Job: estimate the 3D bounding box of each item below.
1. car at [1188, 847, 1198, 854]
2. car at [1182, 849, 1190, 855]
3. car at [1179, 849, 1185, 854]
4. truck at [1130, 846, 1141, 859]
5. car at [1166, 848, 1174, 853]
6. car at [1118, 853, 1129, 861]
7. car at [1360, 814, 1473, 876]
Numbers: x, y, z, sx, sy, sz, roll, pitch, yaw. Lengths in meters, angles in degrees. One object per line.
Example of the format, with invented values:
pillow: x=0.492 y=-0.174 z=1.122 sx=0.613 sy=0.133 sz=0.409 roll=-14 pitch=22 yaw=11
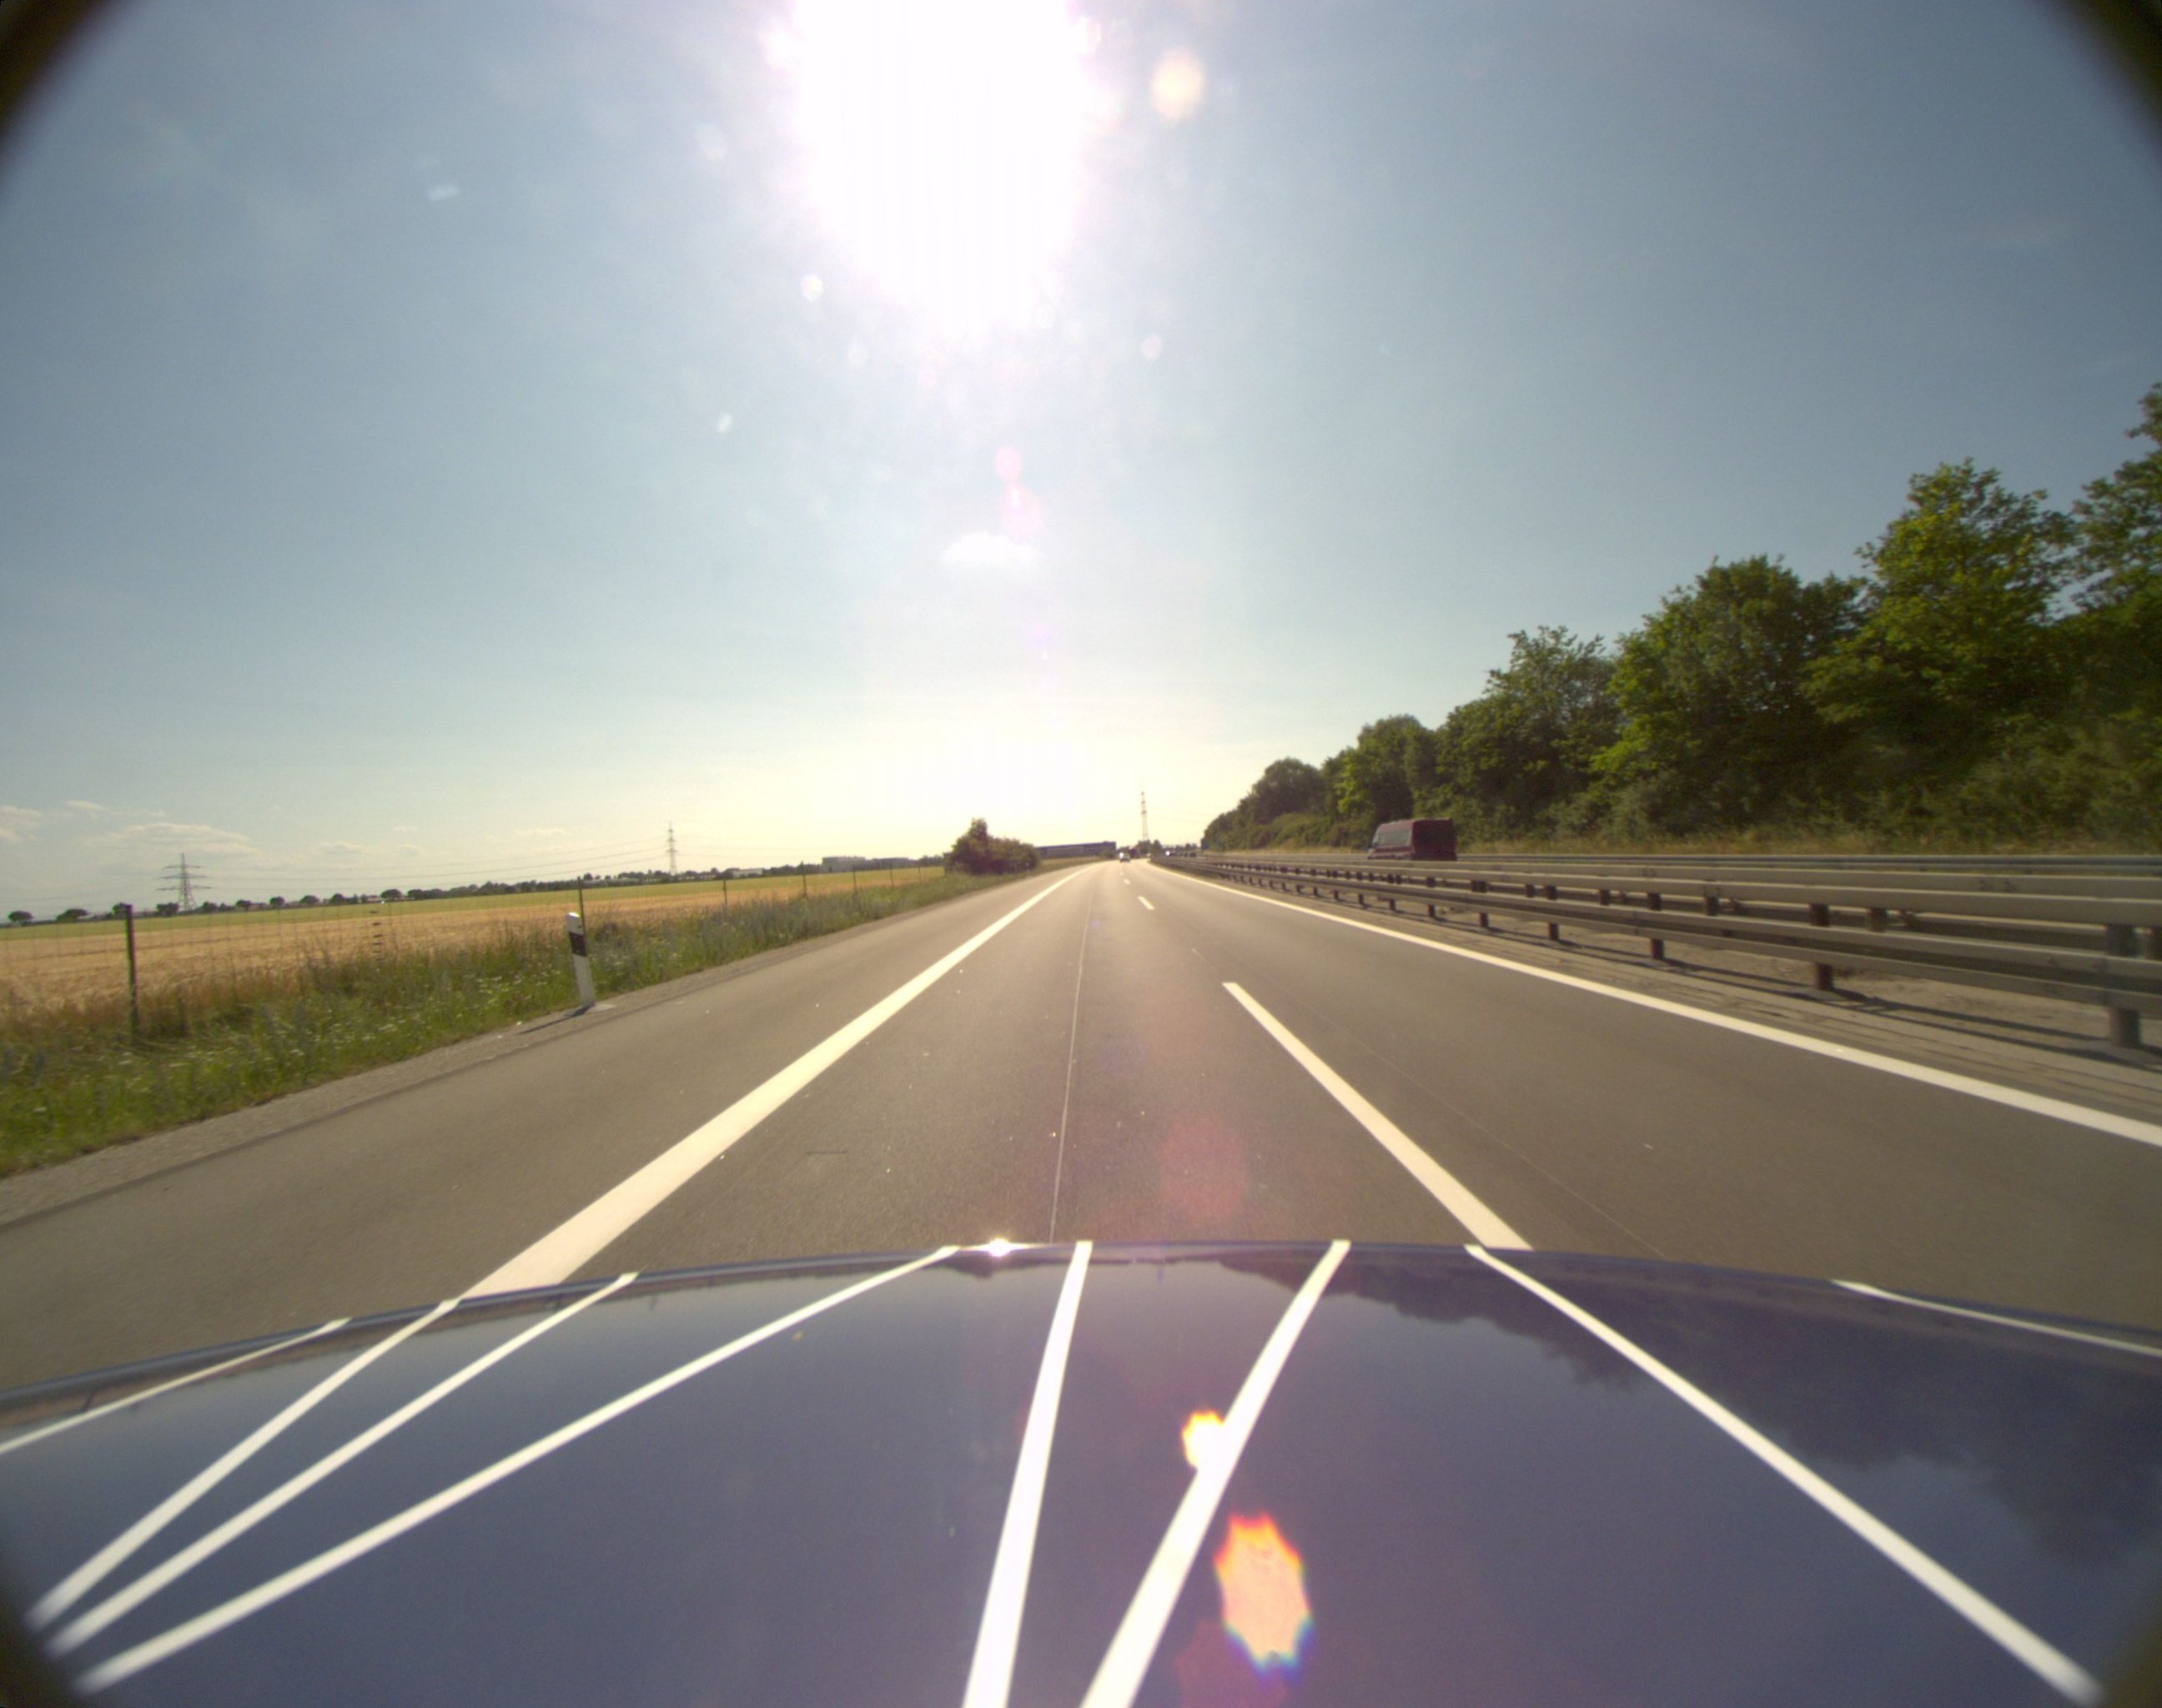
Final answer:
car: x=23.277 y=-0.752 z=157.797 sx=1.666 sy=1.414 sz=4.000 roll=-2 pitch=0 yaw=3
car: x=25.715 y=-0.548 z=186.024 sx=1.581 sy=1.453 sz=4.154 roll=-3 pitch=0 yaw=5
car: x=34.626 y=-0.968 z=259.923 sx=1.755 sy=1.555 sz=4.581 roll=-3 pitch=0 yaw=4
truck: x=17.481 y=-0.537 z=242.189 sx=2.569 sy=3.938 sz=8.649 roll=-5 pitch=0 yaw=9
car: x=23.487 y=-0.916 z=200.988 sx=1.666 sy=1.414 sz=4.000 roll=-2 pitch=0 yaw=3
car: x=7.956 y=0.611 z=140.756 sx=1.860 sy=1.361 sz=4.001 roll=-3 pitch=0 yaw=5
car: x=15.909 y=-0.395 z=36.625 sx=2.550 sy=2.580 sz=6.593 roll=-3 pitch=0 yaw=1
